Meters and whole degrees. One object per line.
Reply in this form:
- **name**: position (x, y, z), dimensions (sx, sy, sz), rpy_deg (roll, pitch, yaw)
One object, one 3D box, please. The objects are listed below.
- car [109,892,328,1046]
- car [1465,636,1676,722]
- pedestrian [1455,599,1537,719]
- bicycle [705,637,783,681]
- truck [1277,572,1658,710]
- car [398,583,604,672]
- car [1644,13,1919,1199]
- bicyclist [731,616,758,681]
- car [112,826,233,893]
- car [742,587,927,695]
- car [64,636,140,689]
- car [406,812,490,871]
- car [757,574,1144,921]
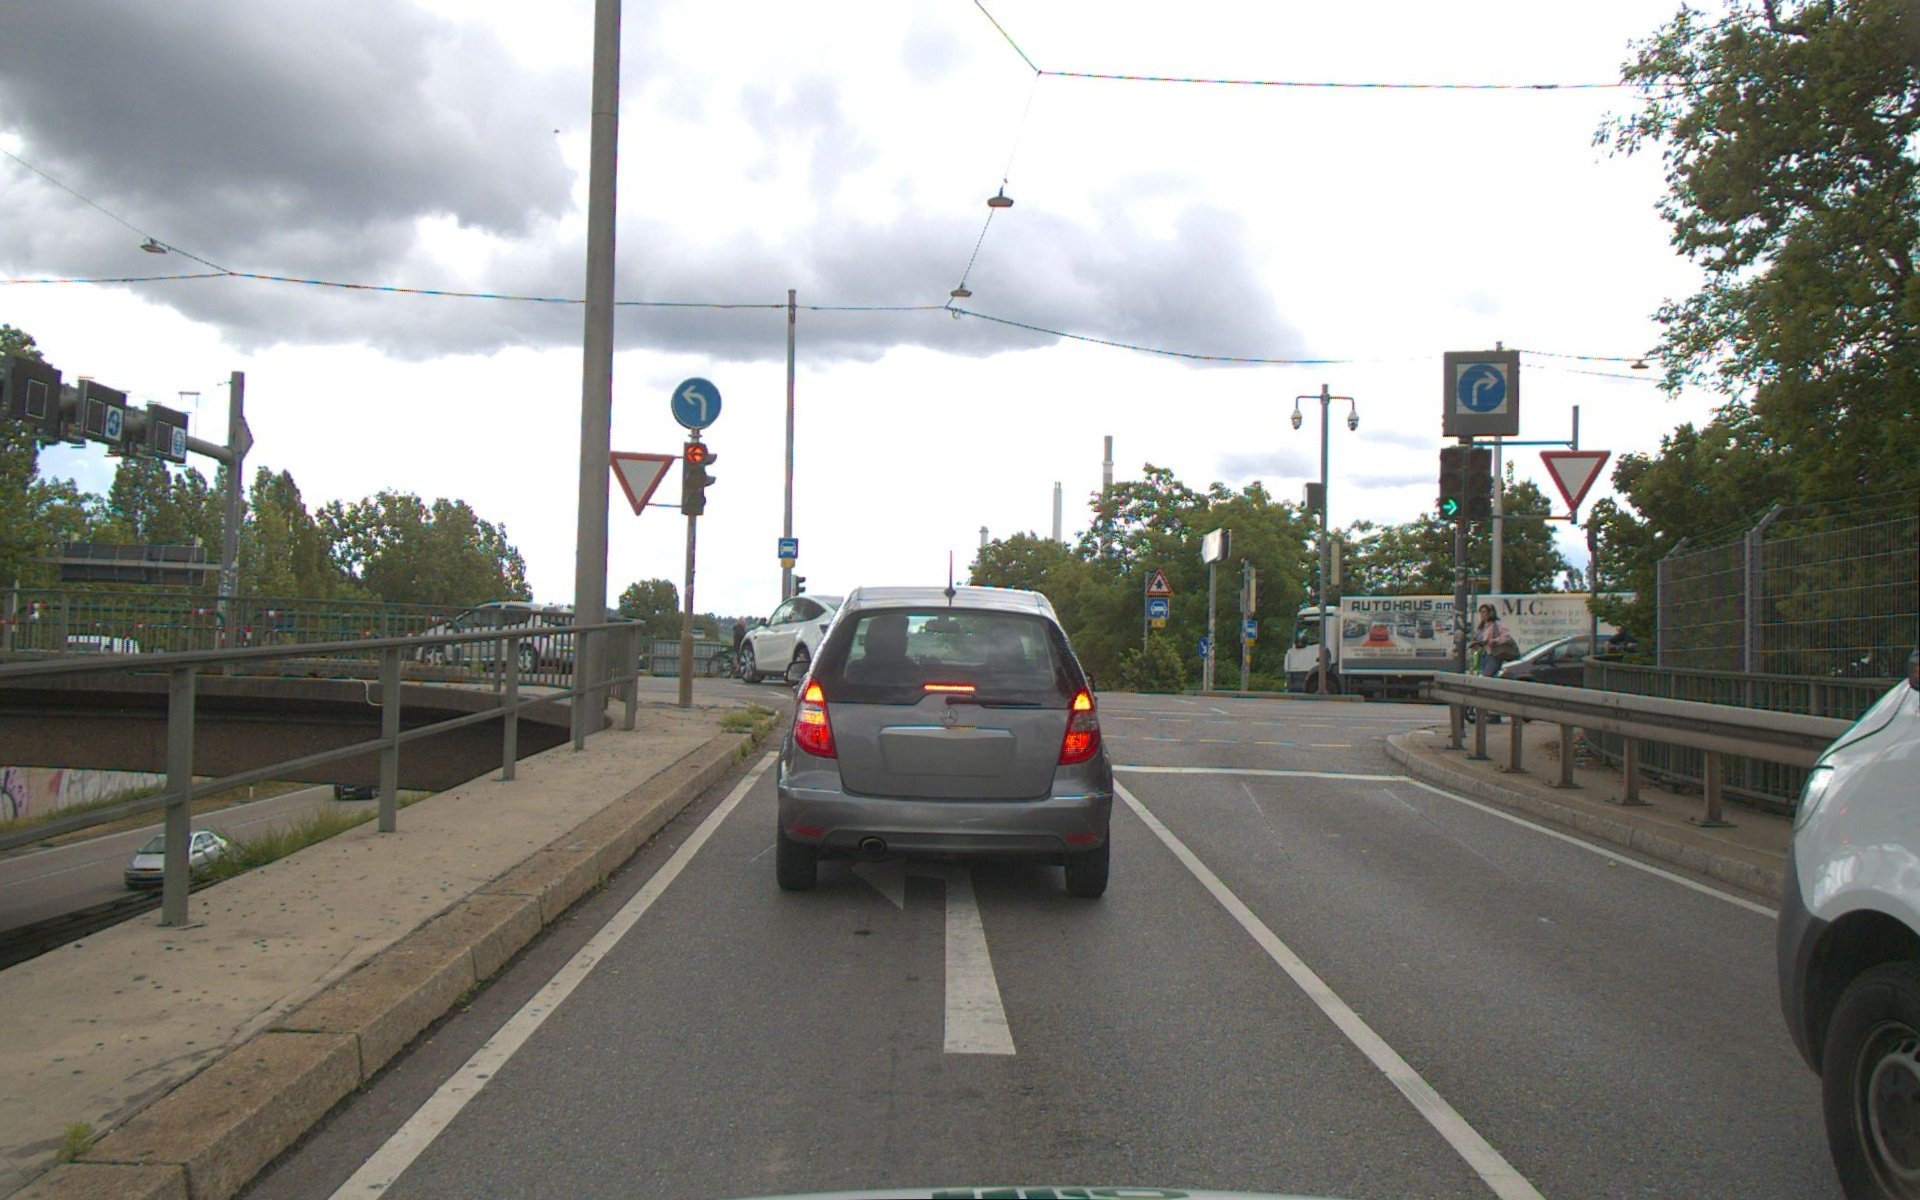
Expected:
- **car**: position (-13.446, 6.656, 30.373), dimensions (1.910, 1.969, 4.893), rpy_deg (1, -3, -2)
- **car**: position (13.190, 1.691, 35.893), dimensions (3.904, 1.694, 1.813), rpy_deg (1, 0, 1)
- **pedestrian**: position (7.754, 0.863, 23.971), dimensions (0.816, 1.707, 0.978), rpy_deg (1, -3, -4)
- **bicycle**: position (-5.829, 1.590, 44.552), dimensions (1.997, 1.144, 0.926), rpy_deg (1, 0, -12)
- **truck**: position (14.339, 1.033, 47.339), dimensions (10.034, 3.580, 2.790), rpy_deg (1, 0, 33)
- **car**: position (-9.685, 0.546, 34.872), dimensions (3.909, 1.747, 1.935), rpy_deg (1, 0, 27)
- **car**: position (3.173, 0.164, 1.529), dimensions (2.068, 2.832, 6.777), rpy_deg (1, 0, -2)
- **bicyclist**: position (-5.814, 1.299, 44.567), dimensions (0.641, 1.703, 0.867), rpy_deg (1, 0, -11)
- **car**: position (-23.610, 7.758, 49.757), dimensions (1.693, 1.555, 4.085), rpy_deg (1, -3, -1)
- **car**: position (-2.317, 0.671, 29.402), dimensions (1.906, 1.747, 4.372), rpy_deg (1, 0, -24)
- **car**: position (-39.254, 2.830, 75.765), dimensions (1.819, 2.254, 3.659), rpy_deg (1, 0, -5)
- **car**: position (-16.864, 7.935, 54.610), dimensions (1.524, 1.580, 3.682), rpy_deg (1, -3, 1)
- **car**: position (-0.003, 0.681, 9.868), dimensions (1.819, 1.616, 4.001), rpy_deg (1, 1, 1)
